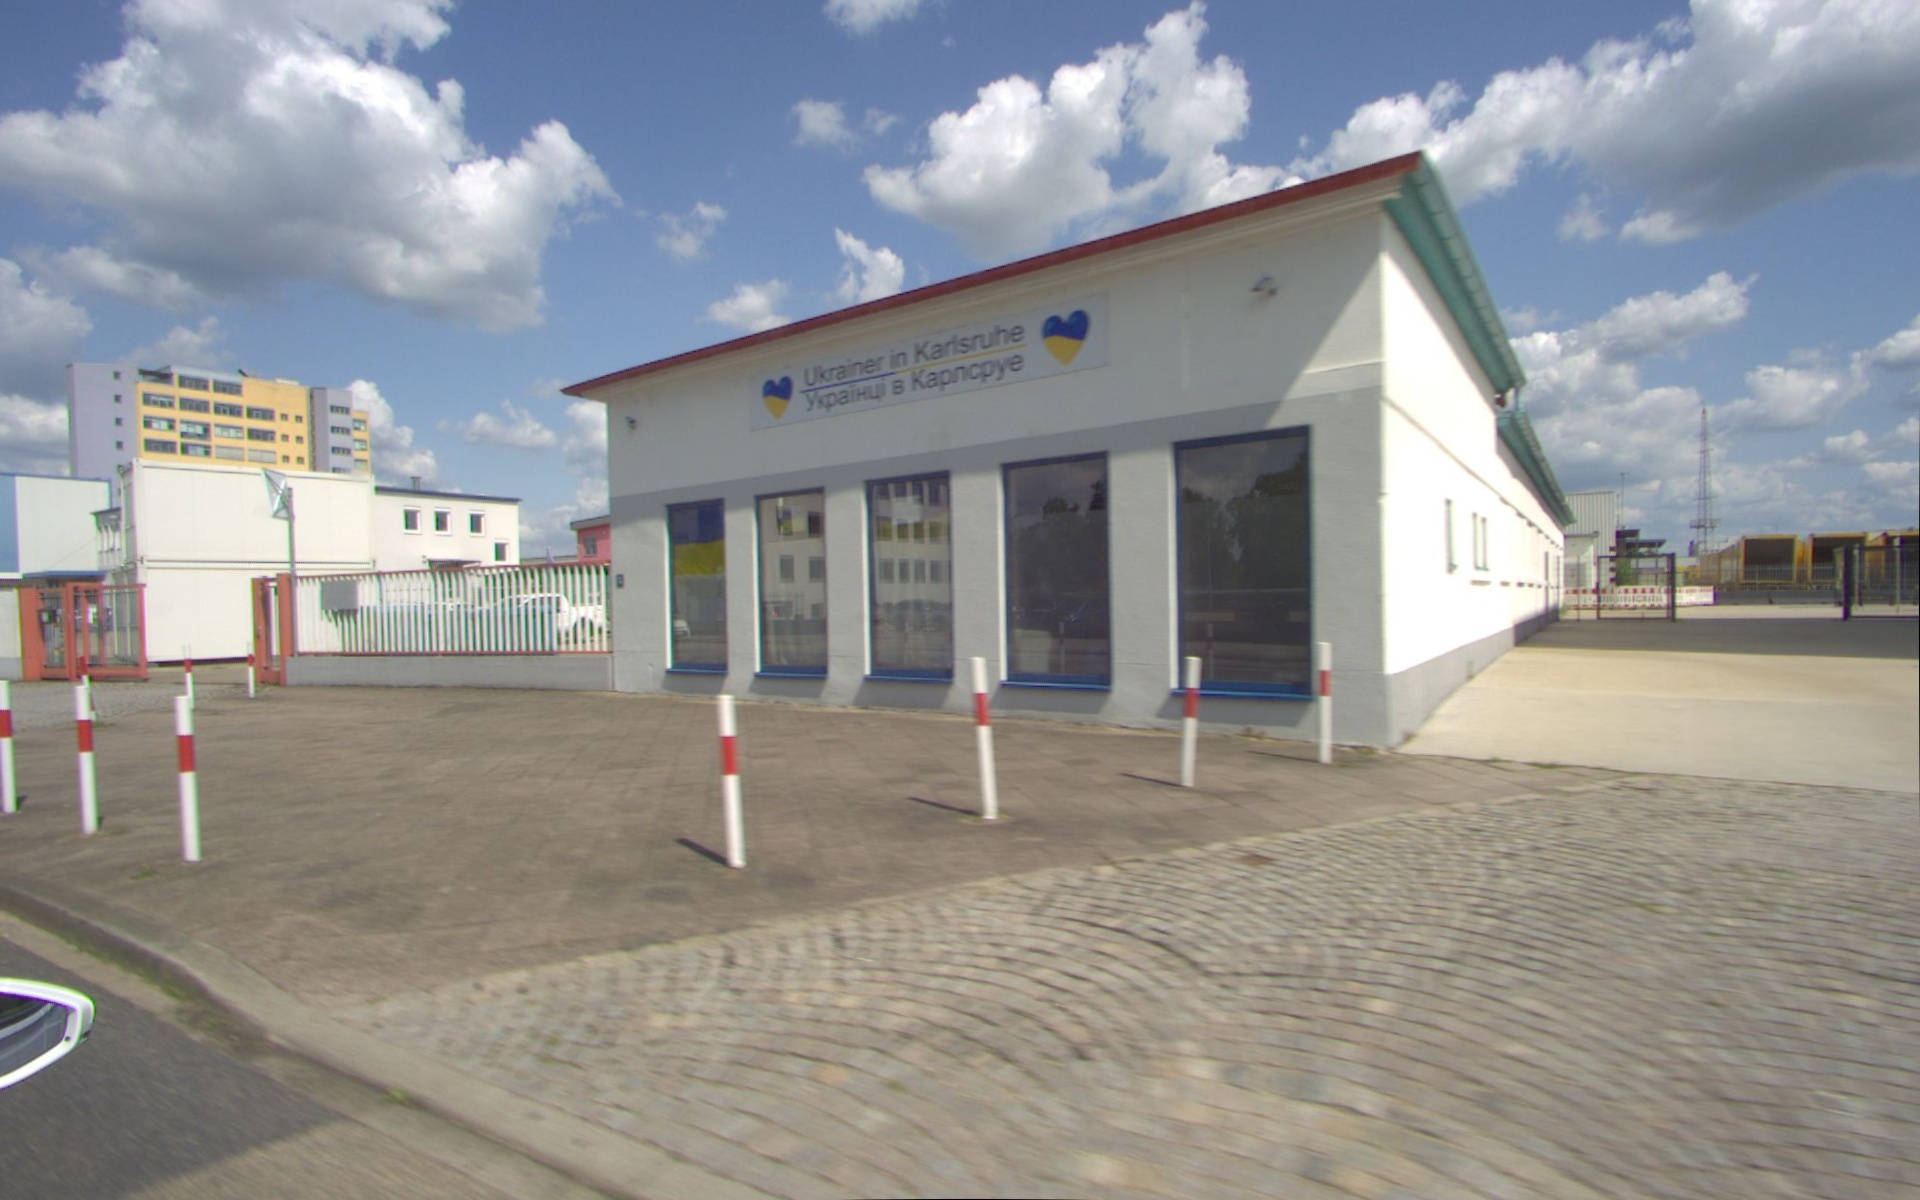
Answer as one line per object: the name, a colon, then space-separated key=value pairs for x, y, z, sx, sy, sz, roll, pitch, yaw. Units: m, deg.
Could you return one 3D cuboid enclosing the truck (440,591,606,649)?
truck: x=-14.963 y=0.626 z=34.674 sx=1.968 sy=1.767 sz=5.187 roll=-1 pitch=1 yaw=26
